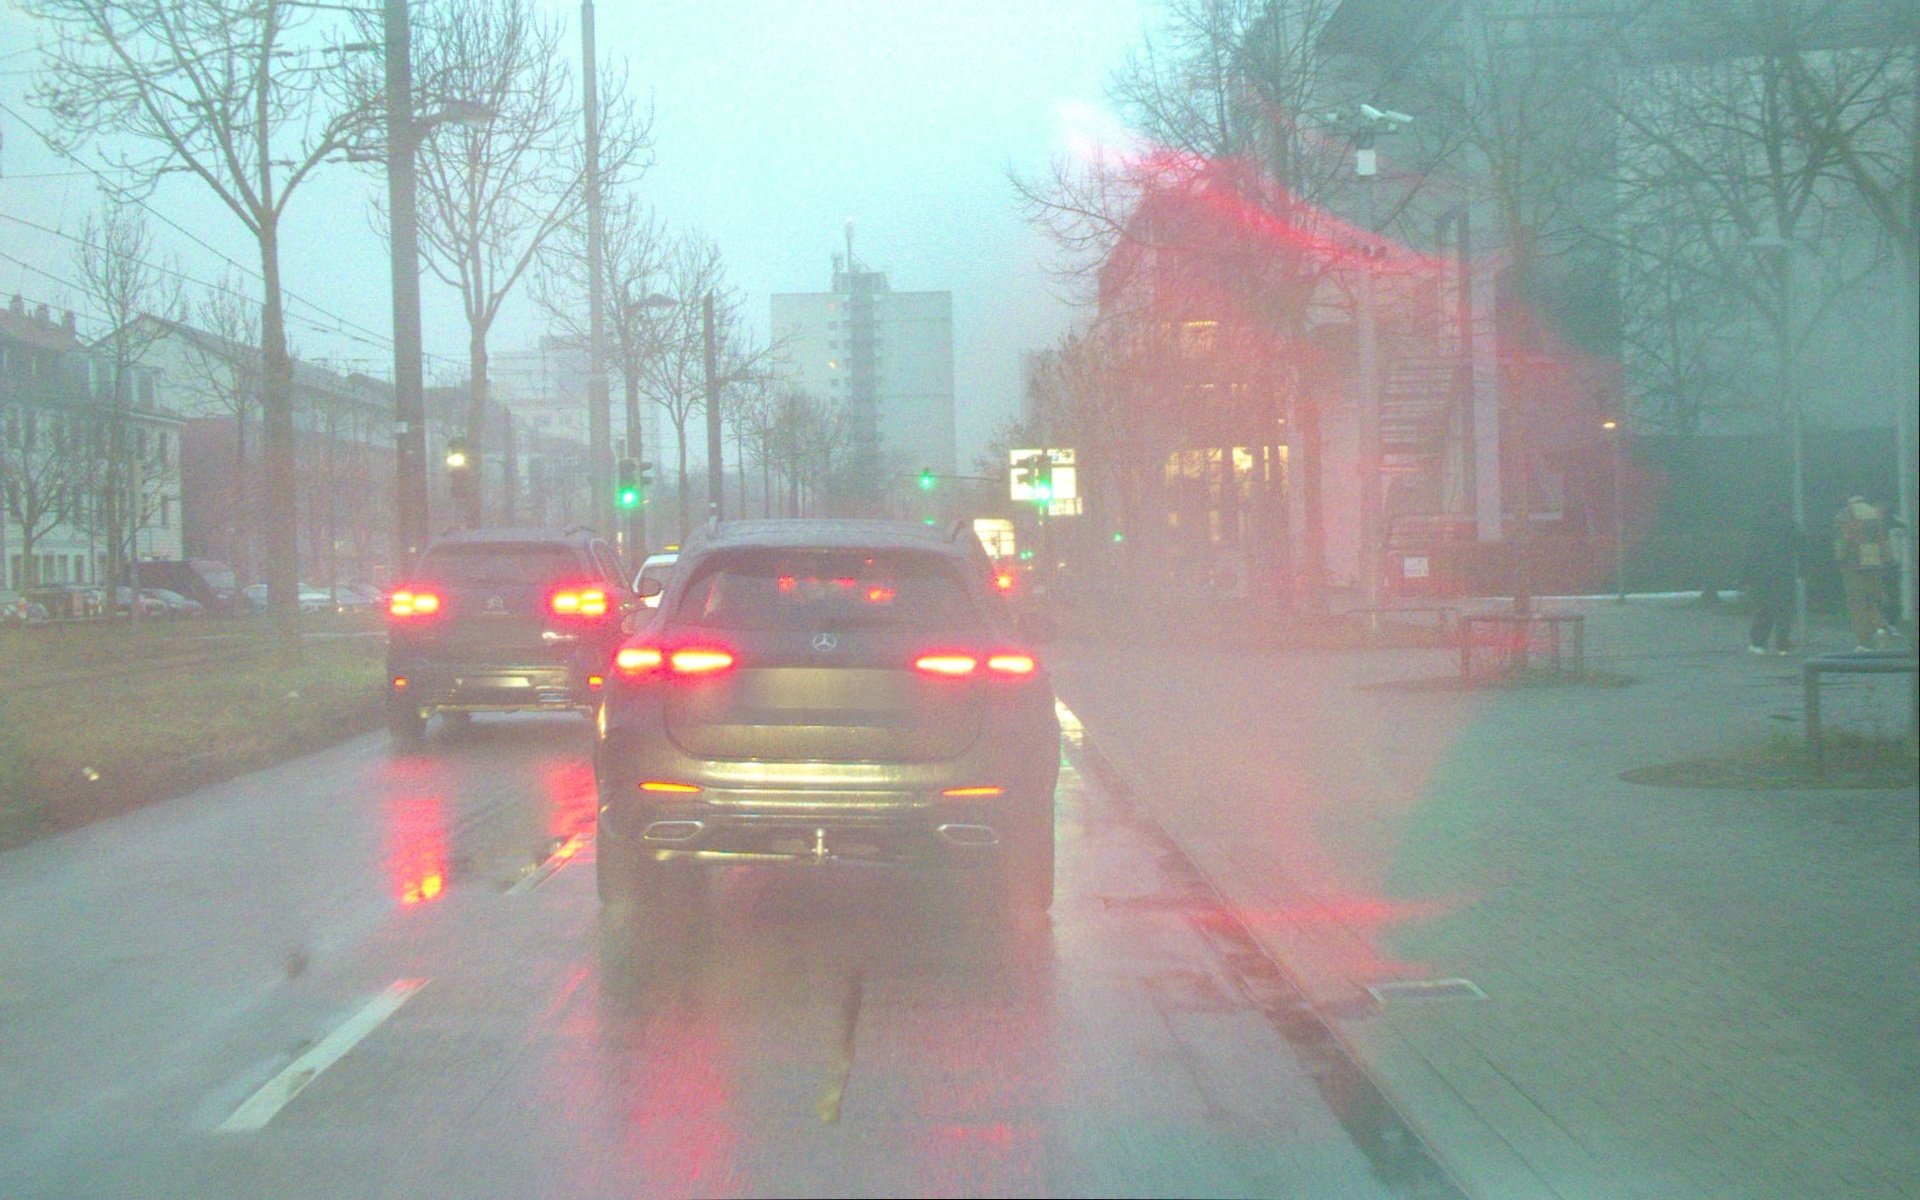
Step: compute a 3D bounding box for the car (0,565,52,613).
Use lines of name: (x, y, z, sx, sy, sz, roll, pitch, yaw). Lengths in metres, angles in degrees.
car: (-29.122, -0.354, 103.646, 3.382, 1.417, 1.666, 1, 1, 38)

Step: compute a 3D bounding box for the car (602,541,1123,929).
car: (-0.398, 0.509, 15.101, 1.993, 1.478, 3.700, 1, 0, -1)

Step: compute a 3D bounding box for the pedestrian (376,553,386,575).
pedestrian: (-31.571, -1.976, 187.395, 0.345, 1.180, 0.434, 0, 0, -41)

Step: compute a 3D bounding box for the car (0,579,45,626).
car: (-28.526, 0.043, 100.795, 2.932, 1.331, 1.734, 1, 1, 32)

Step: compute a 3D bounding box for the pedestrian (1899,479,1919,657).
pedestrian: (9.824, -0.320, 34.598, 0.673, 1.772, 0.614, 1, 0, 13)

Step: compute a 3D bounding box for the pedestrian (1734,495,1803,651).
pedestrian: (8.518, -0.289, 36.207, 0.673, 1.619, 0.614, 1, 0, 15)

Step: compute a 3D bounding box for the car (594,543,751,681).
car: (-3.526, 0.123, 42.598, 1.689, 1.630, 3.474, 1, 1, -1)

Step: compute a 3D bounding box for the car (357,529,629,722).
car: (-3.722, 0.171, 27.984, 1.817, 1.445, 4.000, 0, 1, -2)

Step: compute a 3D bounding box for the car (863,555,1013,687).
car: (-0.302, 0.242, 44.605, 1.854, 1.630, 3.474, 1, 1, -1)

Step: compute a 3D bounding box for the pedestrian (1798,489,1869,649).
pedestrian: (8.833, -0.315, 34.767, 0.673, 1.606, 0.614, 1, 0, 13)

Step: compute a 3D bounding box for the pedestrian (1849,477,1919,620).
pedestrian: (10.954, -0.599, 40.306, 0.667, 1.649, 0.995, -2, 0, -6)
